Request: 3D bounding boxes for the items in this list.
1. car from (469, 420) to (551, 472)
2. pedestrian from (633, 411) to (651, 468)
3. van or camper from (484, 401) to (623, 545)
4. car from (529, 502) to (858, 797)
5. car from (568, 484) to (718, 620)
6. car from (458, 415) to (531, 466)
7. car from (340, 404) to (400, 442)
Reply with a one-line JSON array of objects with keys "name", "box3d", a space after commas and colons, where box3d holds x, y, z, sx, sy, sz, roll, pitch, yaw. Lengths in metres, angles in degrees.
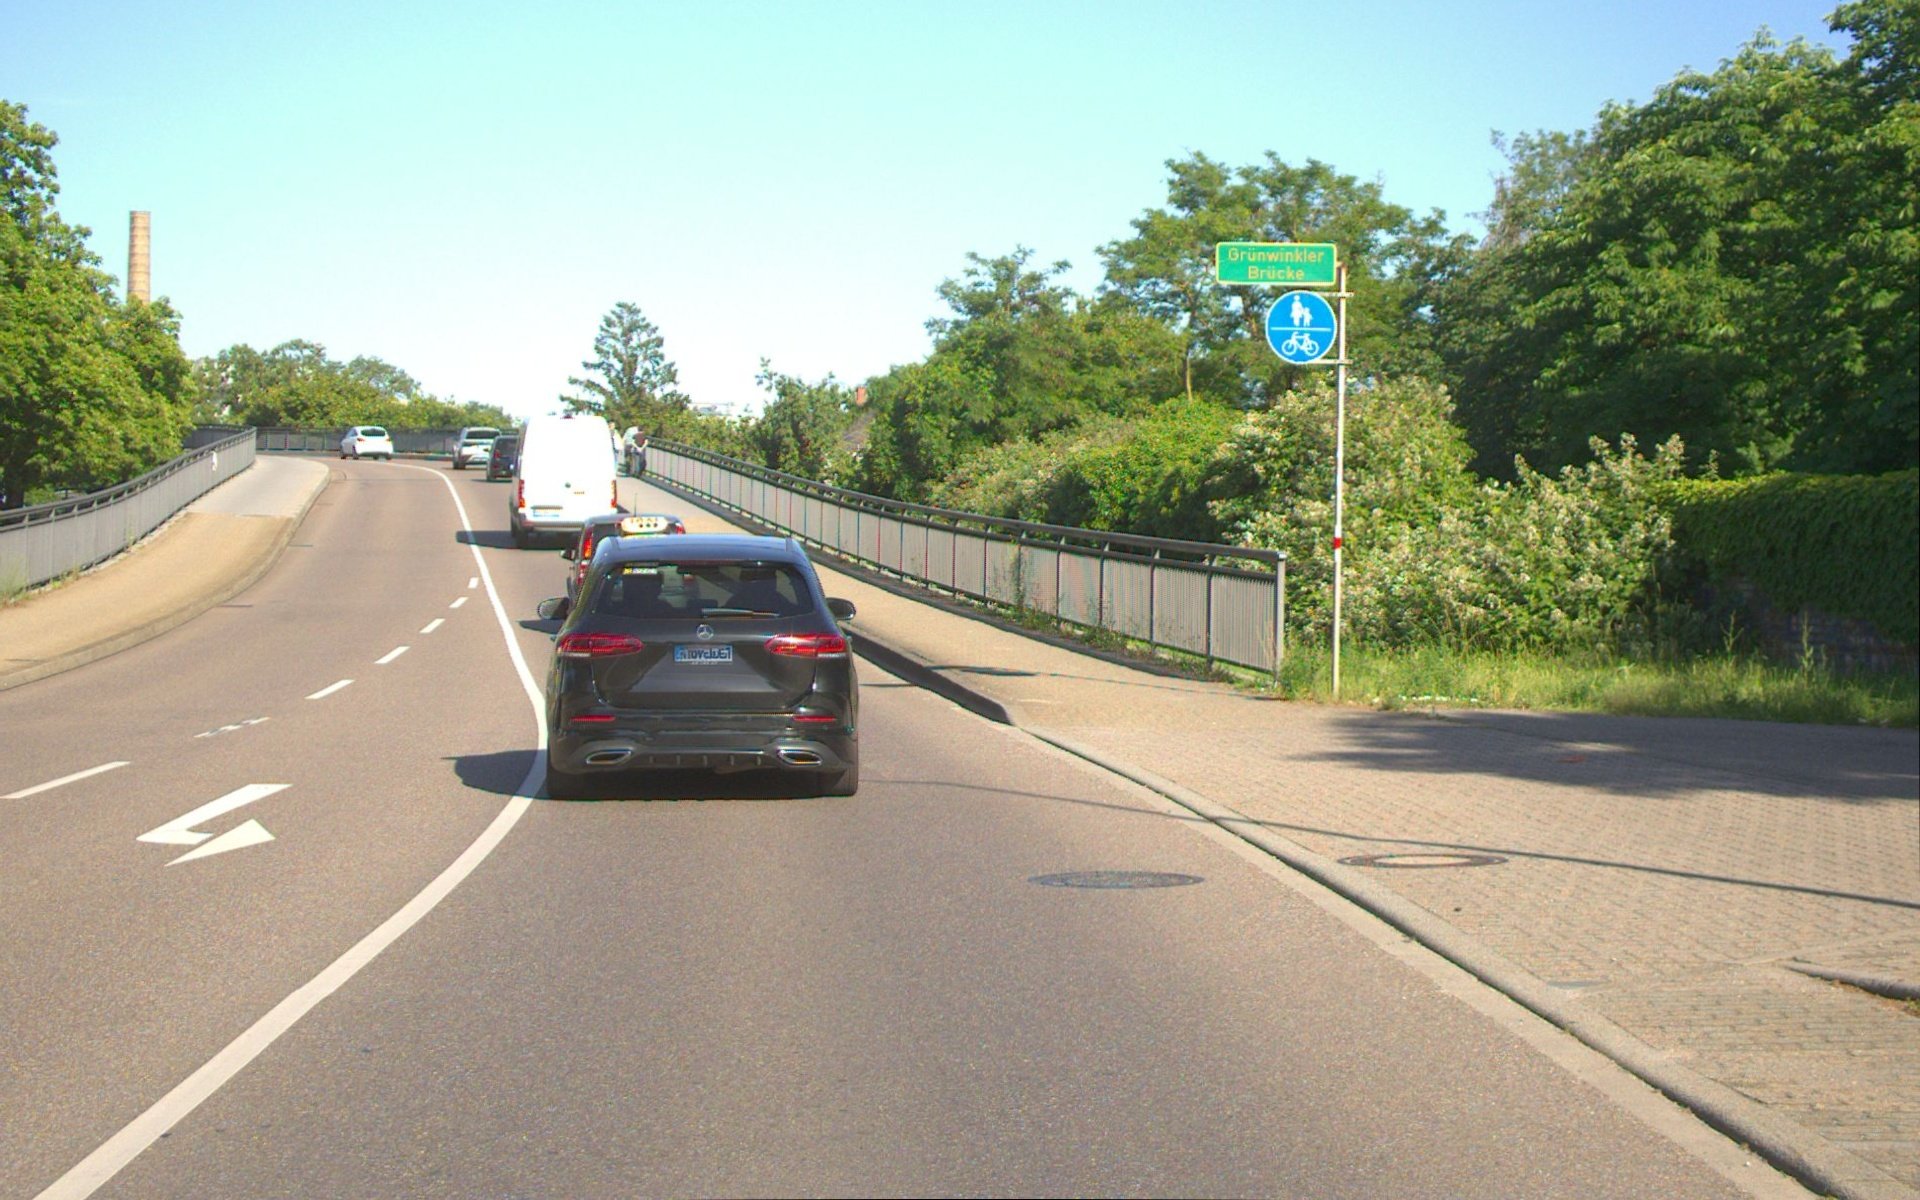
[{"name": "car", "box3d": [-14.277, -4.887, 109.235, 1.918, 1.483, 4.270, 0, 0, 2]}, {"name": "pedestrian", "box3d": [-9.898, -5.003, 107.031, 0.471, 1.744, 0.654, 1, 1, -9]}, {"name": "van or camper", "box3d": [-8.393, -2.569, 70.359, 2.225, 2.729, 7.082, 1, 1, -11]}, {"name": "car", "box3d": [-1.522, 0.251, 20.887, 1.769, 1.587, 3.989, 1, 1, -2]}, {"name": "car", "box3d": [-4.073, -0.595, 44.089, 1.804, 1.634, 4.001, 1, 0, -6]}, {"name": "car", "box3d": [-17.039, -5.832, 126.027, 1.993, 1.674, 4.000, 0, 0, 2]}, {"name": "car", "box3d": [-26.281, -7.864, 153.045, 1.876, 1.538, 4.001, 1, 1, -20]}]
